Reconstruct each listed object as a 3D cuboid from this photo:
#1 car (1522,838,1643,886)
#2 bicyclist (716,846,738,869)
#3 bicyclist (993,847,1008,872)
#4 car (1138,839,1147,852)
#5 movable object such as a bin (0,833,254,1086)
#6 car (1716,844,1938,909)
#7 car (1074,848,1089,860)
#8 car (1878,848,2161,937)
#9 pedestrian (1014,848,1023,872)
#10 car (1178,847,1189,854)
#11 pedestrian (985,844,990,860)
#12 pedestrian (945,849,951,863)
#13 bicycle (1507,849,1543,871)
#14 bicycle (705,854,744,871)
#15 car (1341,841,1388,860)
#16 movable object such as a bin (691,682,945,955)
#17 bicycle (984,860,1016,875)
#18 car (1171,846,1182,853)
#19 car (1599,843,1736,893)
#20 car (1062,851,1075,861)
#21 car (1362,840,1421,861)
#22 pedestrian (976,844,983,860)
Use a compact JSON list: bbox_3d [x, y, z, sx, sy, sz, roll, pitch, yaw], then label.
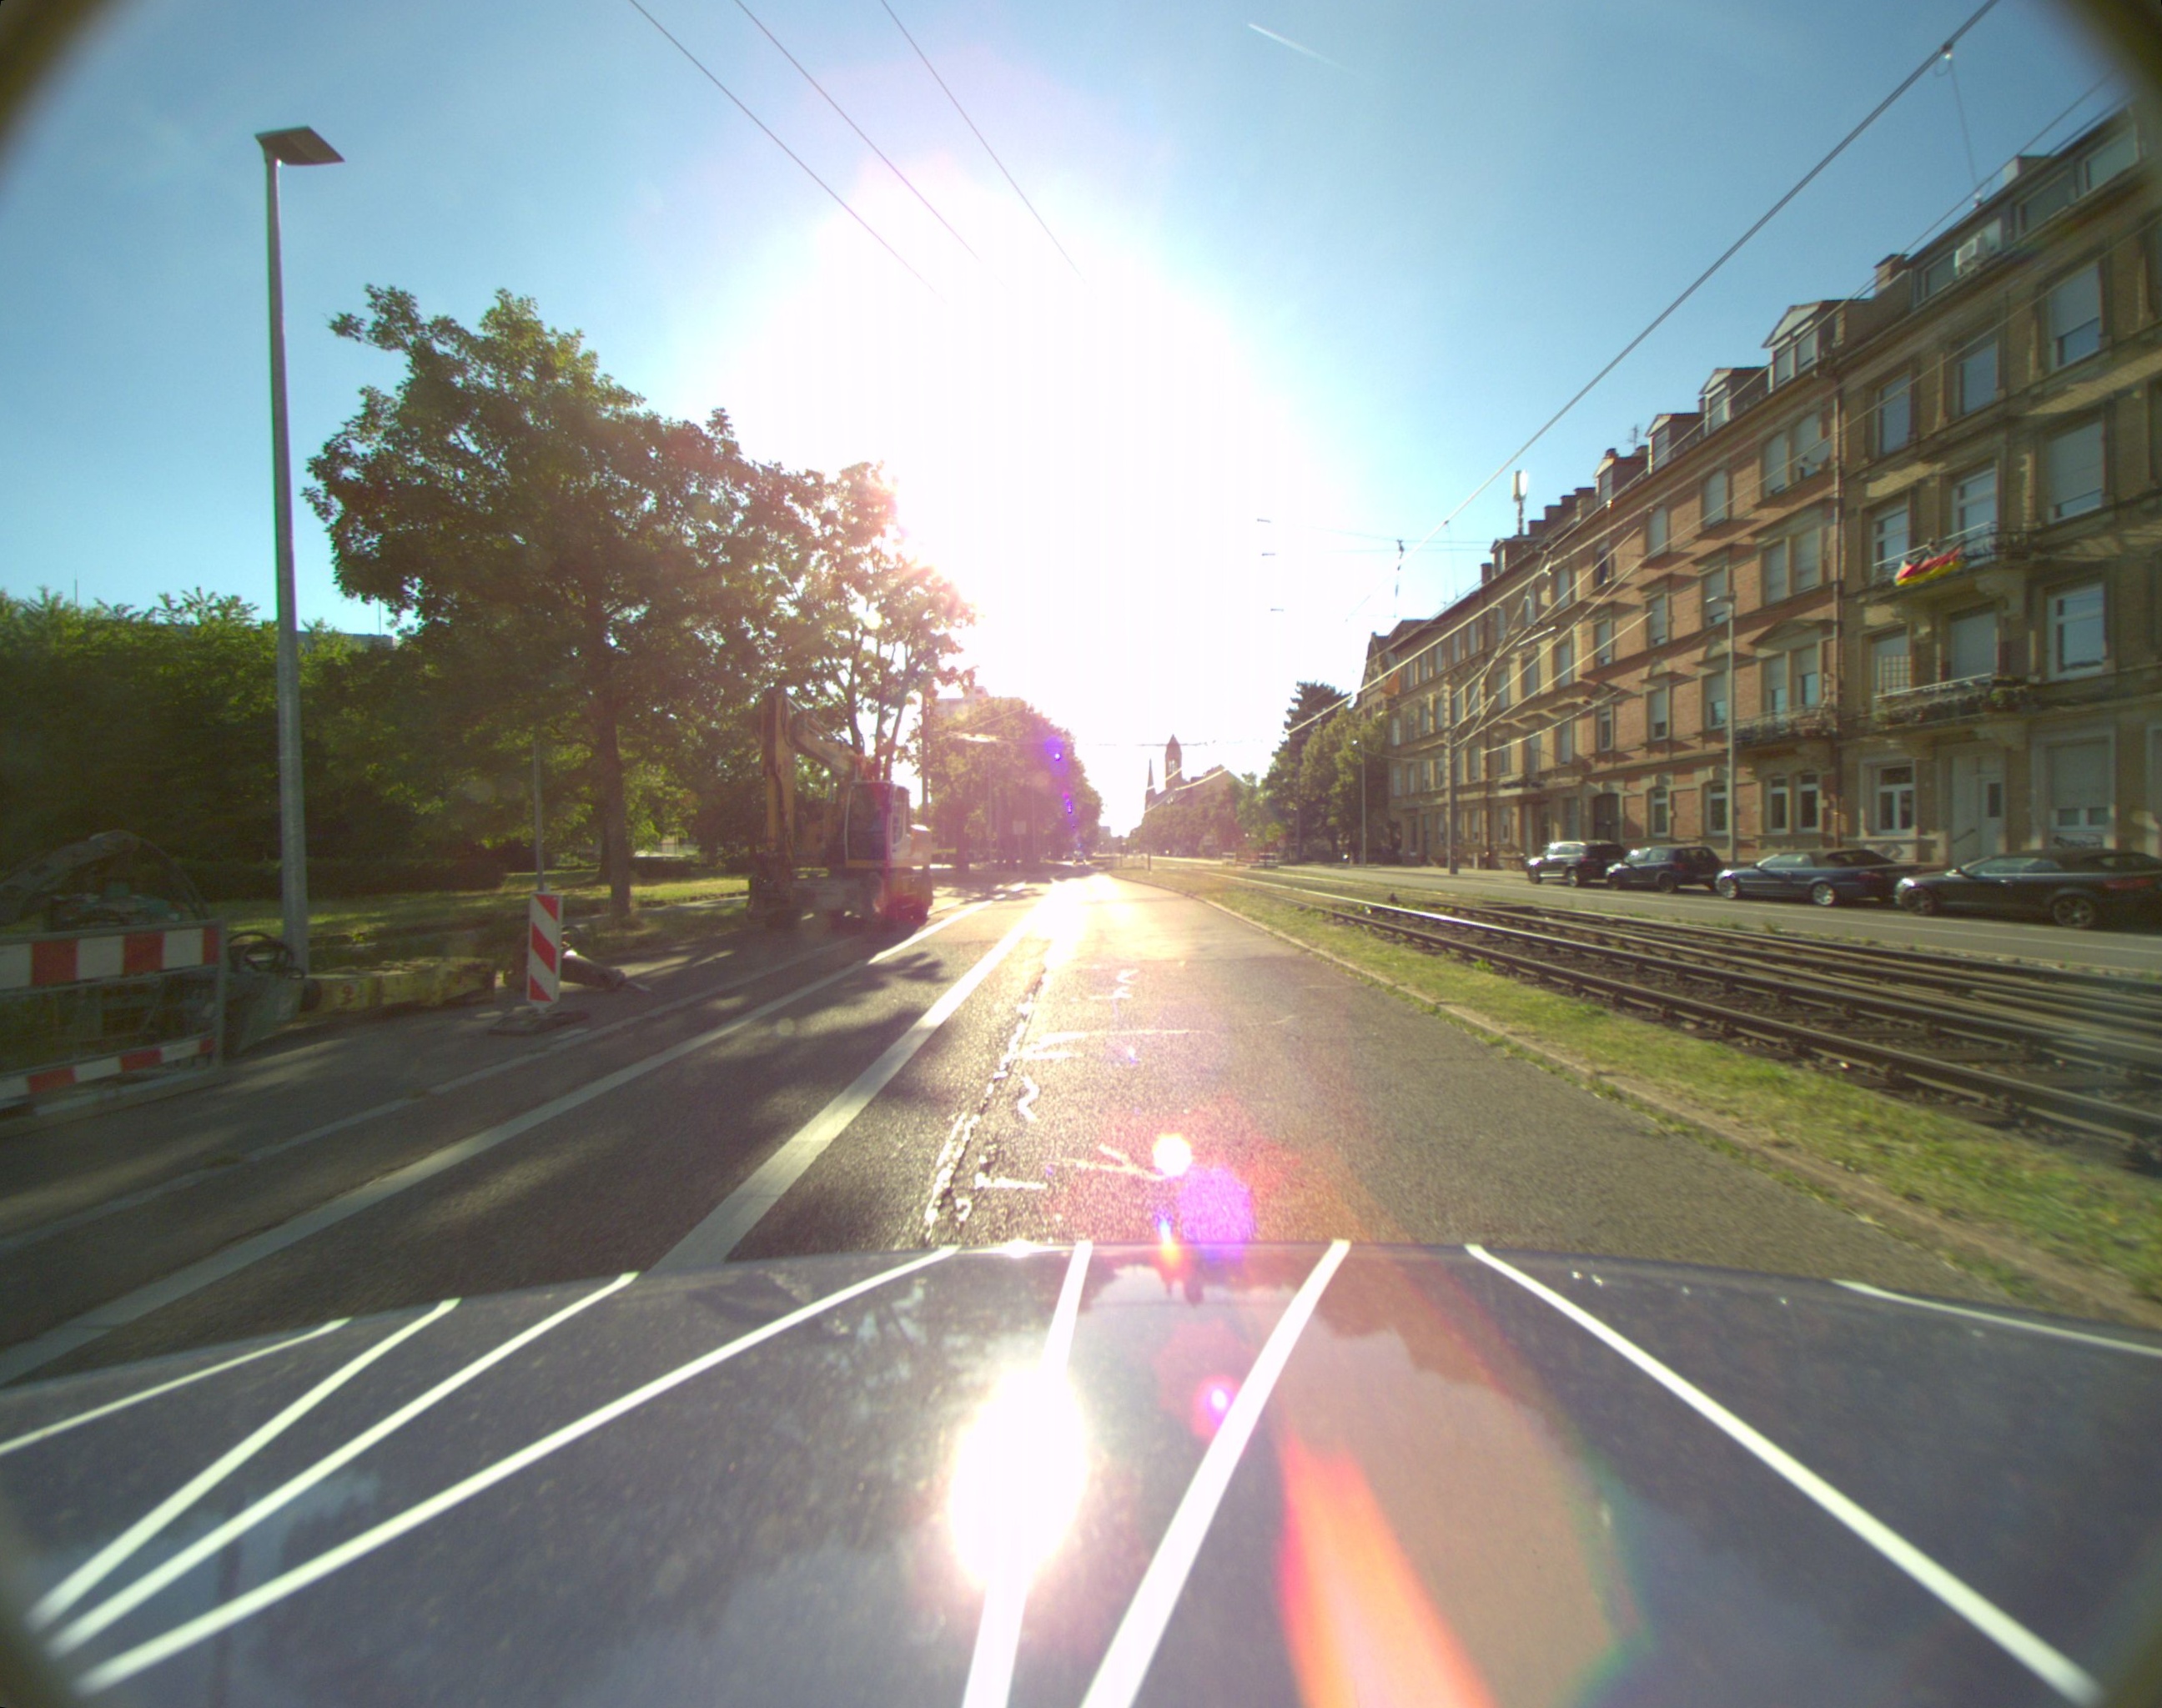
[{"bbox_3d":[19.260,0.272,29.459,1.798,1.633,4.631,-3,1,4],"label":"car"},{"bbox_3d":[-24.120,0.252,51.751,1.207,1.531,0.618,-2,1,-14],"label":"bicyclist"},{"bbox_3d":[-5.632,0.380,53.203,0.745,1.704,0.722,-3,1,13],"label":"bicyclist"},{"bbox_3d":[13.136,-1.848,162.420,1.799,2.766,3.999,-1,1,1],"label":"car"},{"bbox_3d":[-7.914,0.724,5.979,1.320,1.659,1.303,5,1,5],"label":"movable object such as a bin"},{"bbox_3d":[18.982,0.492,19.655,1.663,1.437,4.196,-3,1,1],"label":"car"},{"bbox_3d":[0.043,0.001,100.316,1.798,1.501,4.000,-3,0,1],"label":"car"},{"bbox_3d":[18.722,0.648,15.073,1.663,1.437,3.980,-3,1,1],"label":"car"},{"bbox_3d":[-4.490,0.419,54.395,0.532,1.653,0.486,1,1,-21],"label":"pedestrian"},{"bbox_3d":[21.941,-0.845,162.366,1.799,1.501,3.999,0,1,-1],"label":"car"},{"bbox_3d":[-10.469,-0.218,85.067,0.502,1.830,0.565,0,1,-1],"label":"pedestrian"},{"bbox_3d":[-13.355,0.173,76.250,0.550,1.434,0.513,0,1,-1],"label":"pedestrian"},{"bbox_3d":[22.723,0.290,38.923,0.591,0.998,2.010,-3,1,-1],"label":"bicycle"},{"bbox_3d":[-24.236,0.561,51.742,2.291,1.050,0.618,-1,1,-14],"label":"bicycle"},{"bbox_3d":[26.229,-0.320,70.260,3.991,1.502,1.802,-2,2,22],"label":"car"},{"bbox_3d":[-5.194,-0.629,16.835,2.922,4.584,7.597,2,1,-1],"label":"movable object such as a bin"},{"bbox_3d":[-5.641,0.936,53.213,2.059,0.973,0.722,-3,1,13],"label":"bicycle"},{"bbox_3d":[21.543,-0.957,171.585,1.799,1.501,3.999,0,1,-1],"label":"car"},{"bbox_3d":[19.195,0.407,25.090,1.663,1.437,3.765,-3,1,1],"label":"car"},{"bbox_3d":[-2.029,0.256,122.006,1.798,1.501,4.000,-3,0,1],"label":"car"},{"bbox_3d":[29.621,-0.335,72.453,5.058,1.814,2.025,-1,2,26],"label":"car"},{"bbox_3d":[-11.343,-0.196,85.076,0.645,1.830,0.565,0,1,-1],"label":"pedestrian"}]
